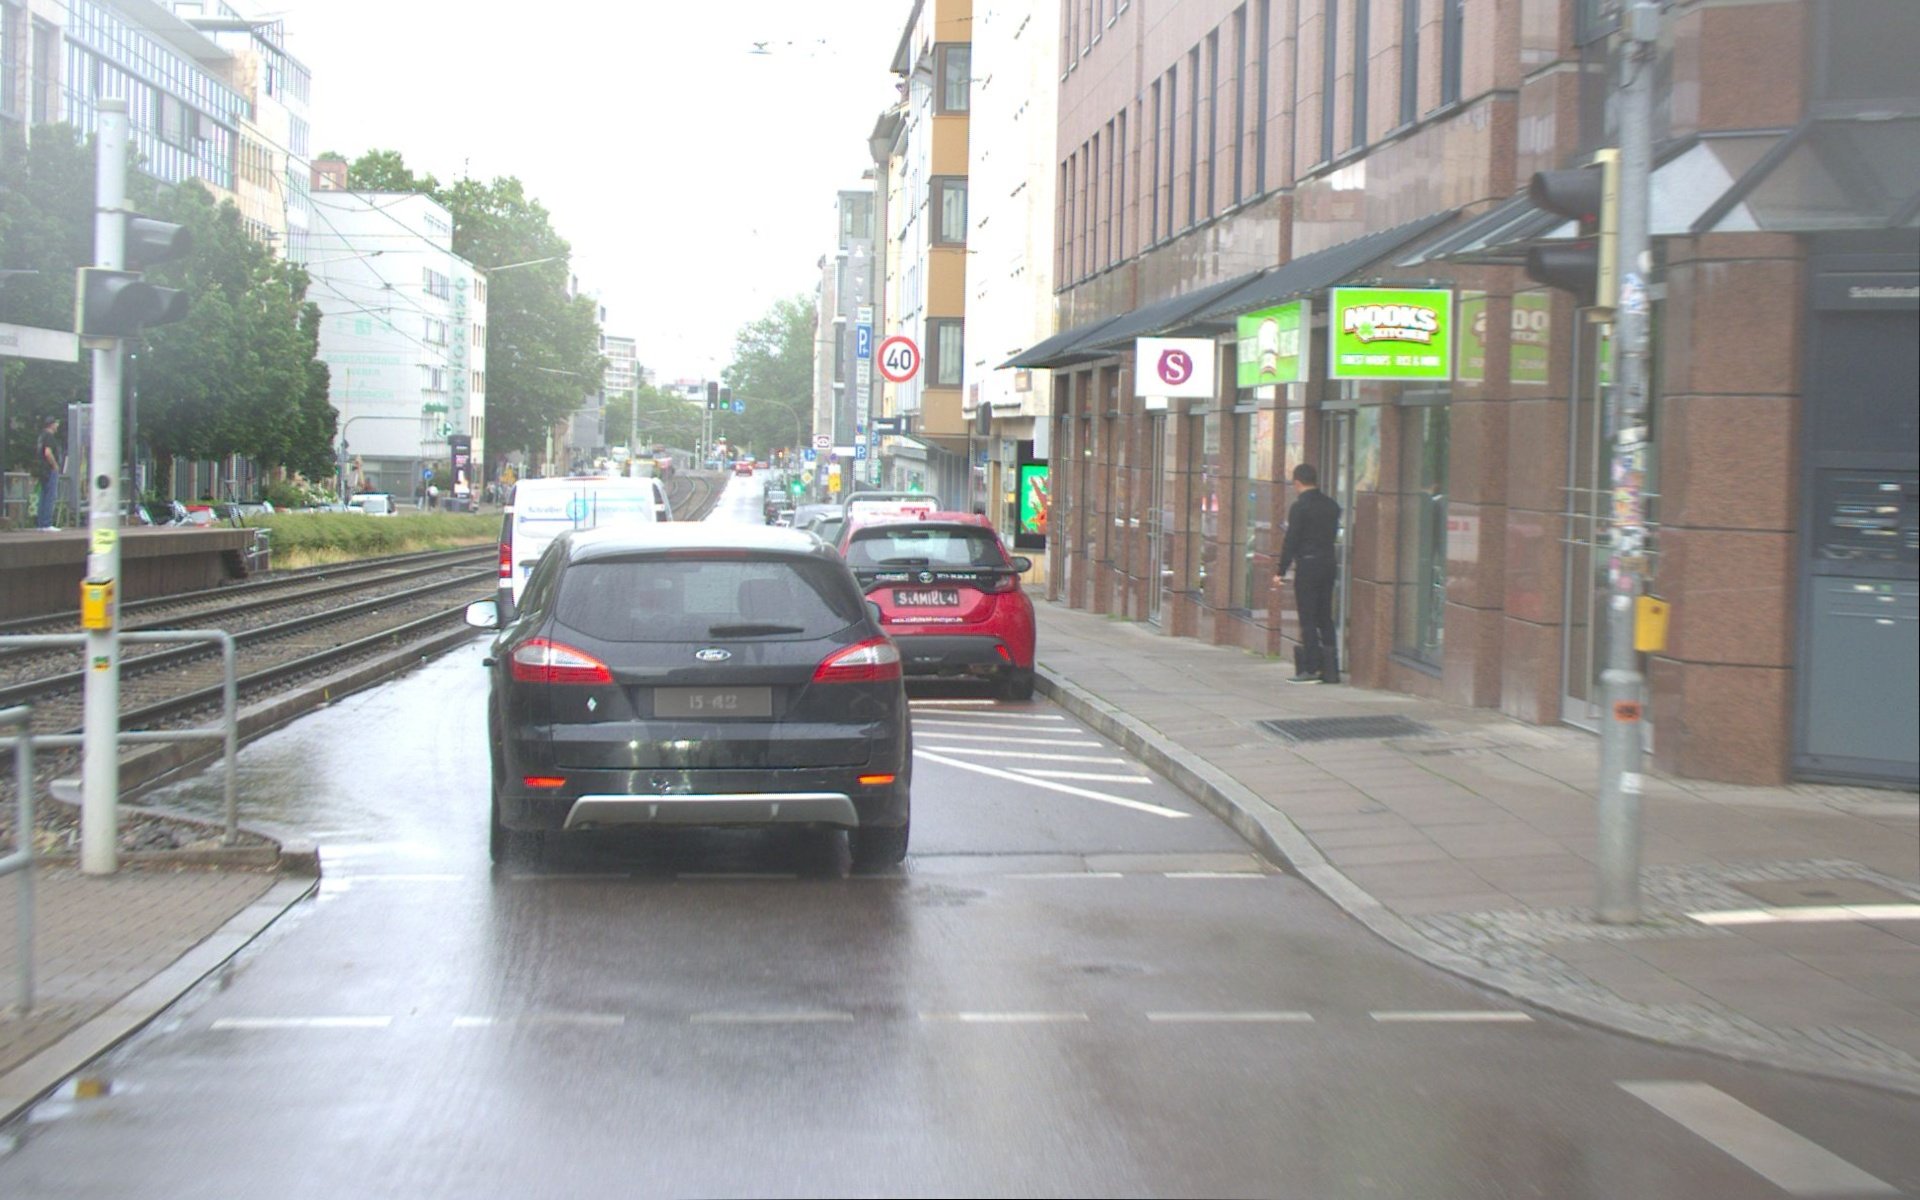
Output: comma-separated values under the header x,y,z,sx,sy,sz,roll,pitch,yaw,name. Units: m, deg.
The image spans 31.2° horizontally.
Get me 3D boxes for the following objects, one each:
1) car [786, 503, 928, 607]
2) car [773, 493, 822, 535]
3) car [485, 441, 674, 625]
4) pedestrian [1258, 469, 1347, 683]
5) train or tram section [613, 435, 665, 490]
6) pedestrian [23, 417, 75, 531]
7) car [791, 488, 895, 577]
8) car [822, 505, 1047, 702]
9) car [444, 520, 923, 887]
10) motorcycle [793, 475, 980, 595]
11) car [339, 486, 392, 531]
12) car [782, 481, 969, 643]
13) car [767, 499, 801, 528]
x,y,z,sx,sy,sz,roll,pitch,yaw,name
-1.573,-0.697,50.962,1.773,1.463,4.610,0,2,-6,car
-6.445,-3.422,137.031,1.906,1.627,4.574,1,1,-2,car
-4.168,-0.721,37.322,1.906,1.858,4.575,1,1,-7,car
2.679,-0.191,26.951,0.601,1.653,0.625,0,1,-3,pedestrian
-22.840,-9.708,244.087,3.512,3.764,11.334,0,2,-6,train or tram section
-14.528,-2.007,54.839,0.655,1.795,0.850,0,1,-5,pedestrian
-2.275,-1.306,65.680,1.807,1.626,5.170,0,2,-4,car
-0.260,-0.012,28.400,1.698,1.474,3.867,-1,1,-2,car
-1.195,0.388,15.538,1.906,1.457,3.445,1,1,-3,car
-0.876,-0.778,41.044,2.085,1.402,0.798,0,1,15,motorcycle
-25.125,-3.857,145.359,1.906,1.858,4.575,1,1,-6,car
-0.879,-0.387,33.844,1.698,1.457,3.868,-2,1,-3,car
-10.213,-5.017,199.408,1.906,1.627,4.574,1,1,-2,car
